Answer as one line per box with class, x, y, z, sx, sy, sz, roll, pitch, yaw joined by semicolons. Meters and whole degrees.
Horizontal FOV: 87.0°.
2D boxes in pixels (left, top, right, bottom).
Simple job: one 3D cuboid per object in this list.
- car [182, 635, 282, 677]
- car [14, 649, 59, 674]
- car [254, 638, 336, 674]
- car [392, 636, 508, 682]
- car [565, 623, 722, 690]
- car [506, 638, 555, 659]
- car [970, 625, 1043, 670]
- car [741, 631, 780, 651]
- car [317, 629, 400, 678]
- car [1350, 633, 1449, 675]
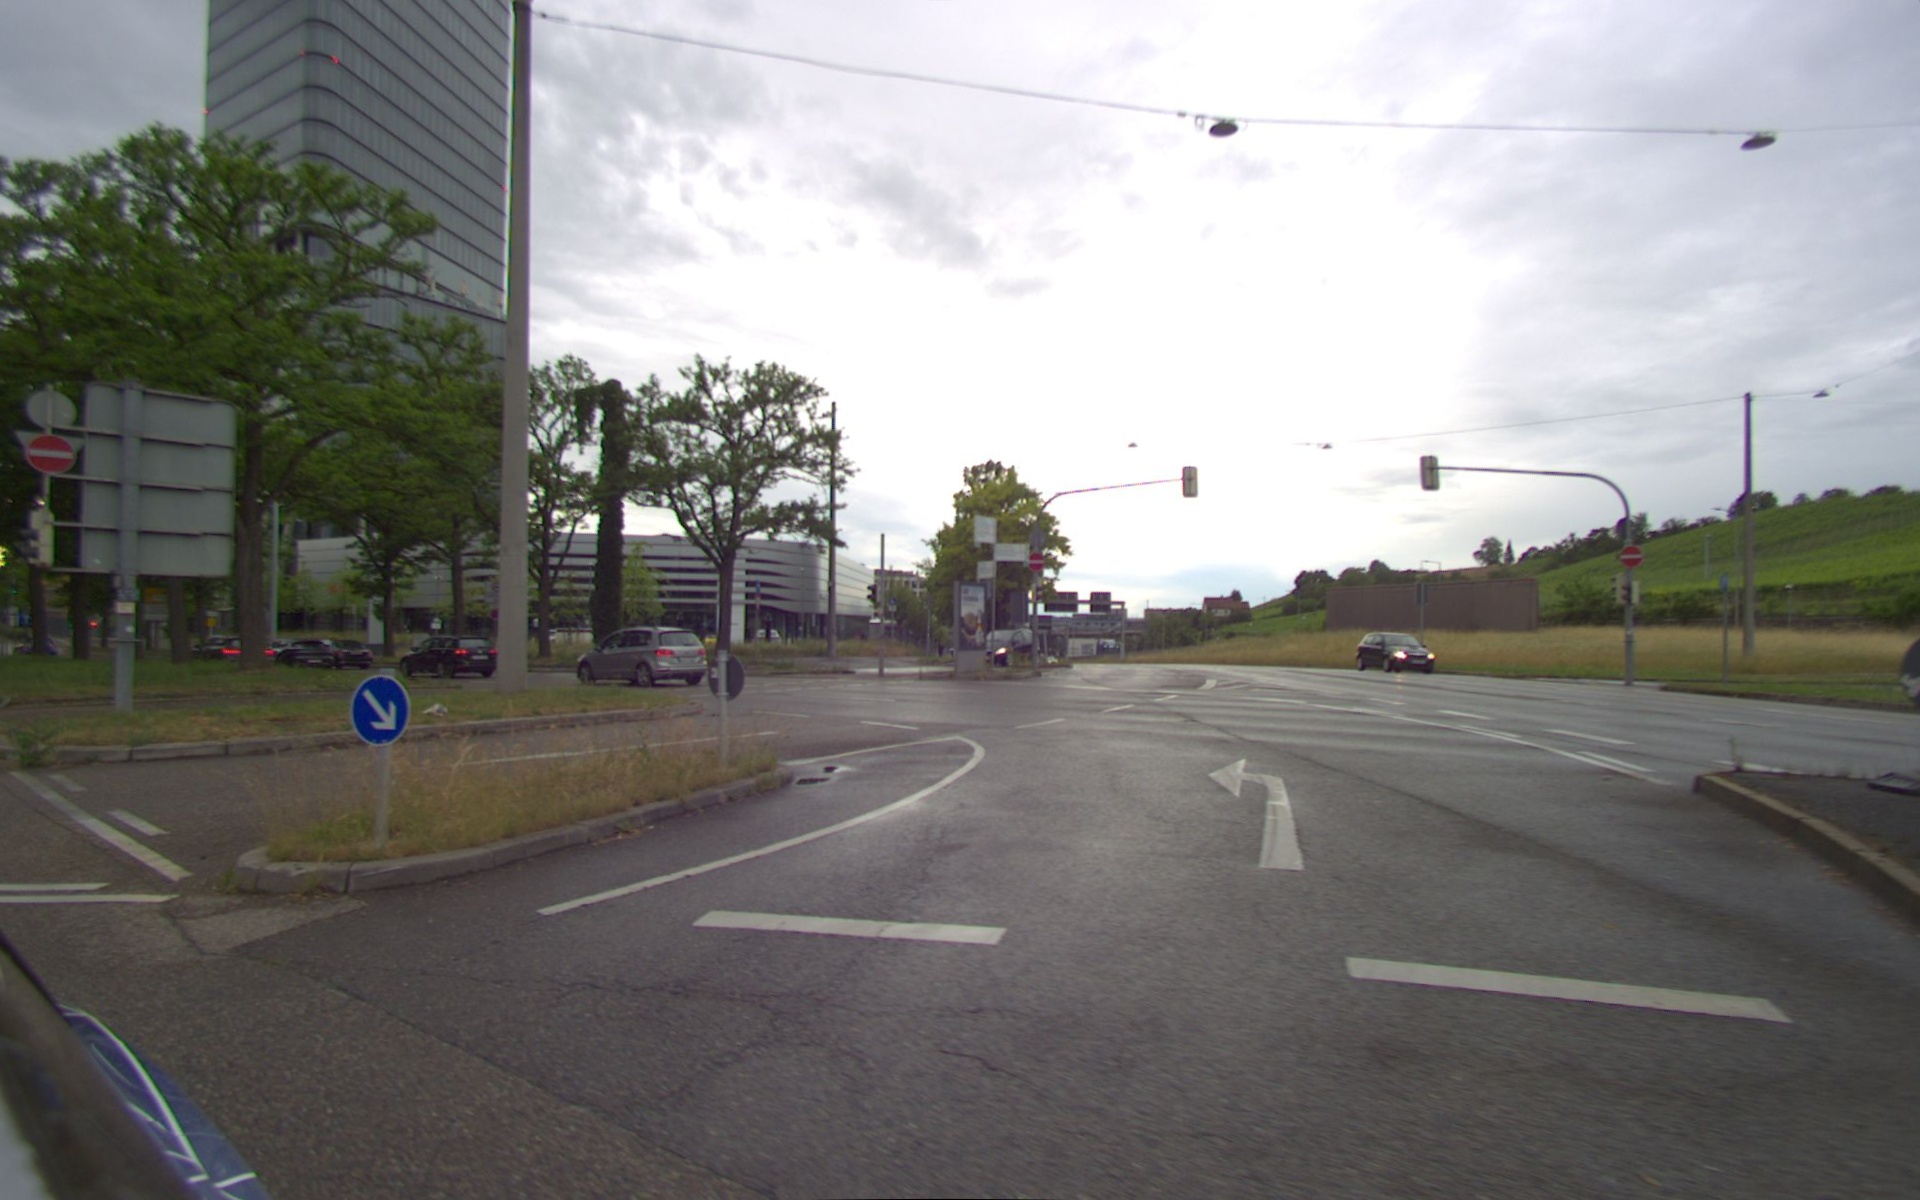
car;-28.198;2.146;39.154;4.886;1.500;1.883;-2;-2;38
car;-57.568;3.818;63.049;3.882;1.406;1.767;-2;-2;43
car;-28.225;2.342;42.906;3.999;1.398;1.972;-1;-2;42
car;-17.708;2.010;35.057;4.662;1.484;1.806;-2;-3;38
car;-8.634;1.487;27.505;4.188;1.587;1.975;-1;0;37
car;-34.256;3.832;80.863;1.759;1.423;3.988;-1;0;9
car;2.009;1.961;42.631;1.985;1.674;3.974;-1;0;20
car;-14.045;2.841;71.174;1.592;1.254;4.013;-1;0;-28
car;-28.260;2.562;47.502;4.560;1.636;1.811;-10;-14;38
car;16.152;1.969;37.438;1.773;1.299;4.002;-1;0;-2
